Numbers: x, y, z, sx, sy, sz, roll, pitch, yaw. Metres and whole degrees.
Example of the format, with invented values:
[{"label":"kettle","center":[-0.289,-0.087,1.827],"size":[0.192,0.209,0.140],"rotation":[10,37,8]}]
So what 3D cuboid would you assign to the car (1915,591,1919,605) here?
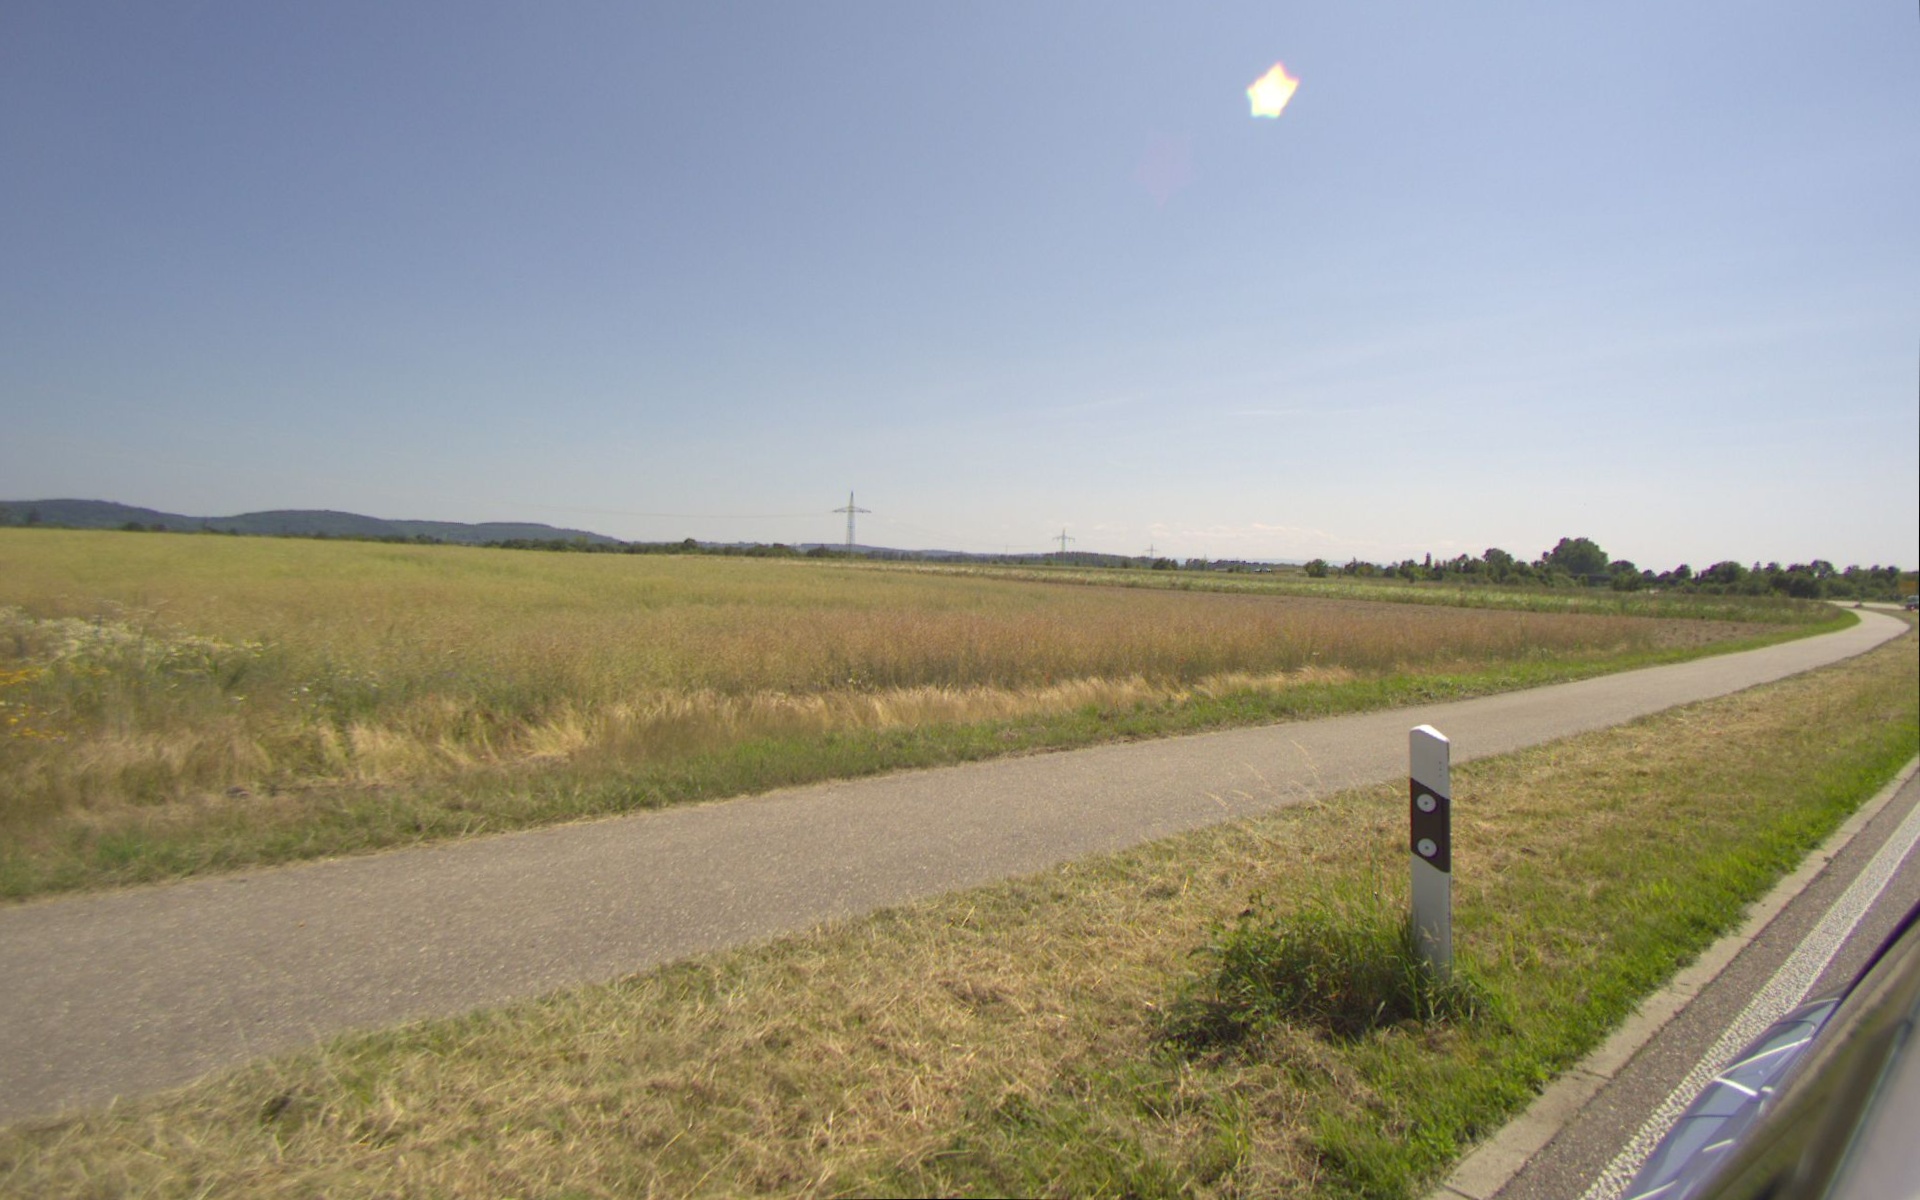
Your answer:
[{"label":"car","center":[112.651,-0.253,117.569],"size":[1.975,1.616,5.326],"rotation":[1,1,39]}]
